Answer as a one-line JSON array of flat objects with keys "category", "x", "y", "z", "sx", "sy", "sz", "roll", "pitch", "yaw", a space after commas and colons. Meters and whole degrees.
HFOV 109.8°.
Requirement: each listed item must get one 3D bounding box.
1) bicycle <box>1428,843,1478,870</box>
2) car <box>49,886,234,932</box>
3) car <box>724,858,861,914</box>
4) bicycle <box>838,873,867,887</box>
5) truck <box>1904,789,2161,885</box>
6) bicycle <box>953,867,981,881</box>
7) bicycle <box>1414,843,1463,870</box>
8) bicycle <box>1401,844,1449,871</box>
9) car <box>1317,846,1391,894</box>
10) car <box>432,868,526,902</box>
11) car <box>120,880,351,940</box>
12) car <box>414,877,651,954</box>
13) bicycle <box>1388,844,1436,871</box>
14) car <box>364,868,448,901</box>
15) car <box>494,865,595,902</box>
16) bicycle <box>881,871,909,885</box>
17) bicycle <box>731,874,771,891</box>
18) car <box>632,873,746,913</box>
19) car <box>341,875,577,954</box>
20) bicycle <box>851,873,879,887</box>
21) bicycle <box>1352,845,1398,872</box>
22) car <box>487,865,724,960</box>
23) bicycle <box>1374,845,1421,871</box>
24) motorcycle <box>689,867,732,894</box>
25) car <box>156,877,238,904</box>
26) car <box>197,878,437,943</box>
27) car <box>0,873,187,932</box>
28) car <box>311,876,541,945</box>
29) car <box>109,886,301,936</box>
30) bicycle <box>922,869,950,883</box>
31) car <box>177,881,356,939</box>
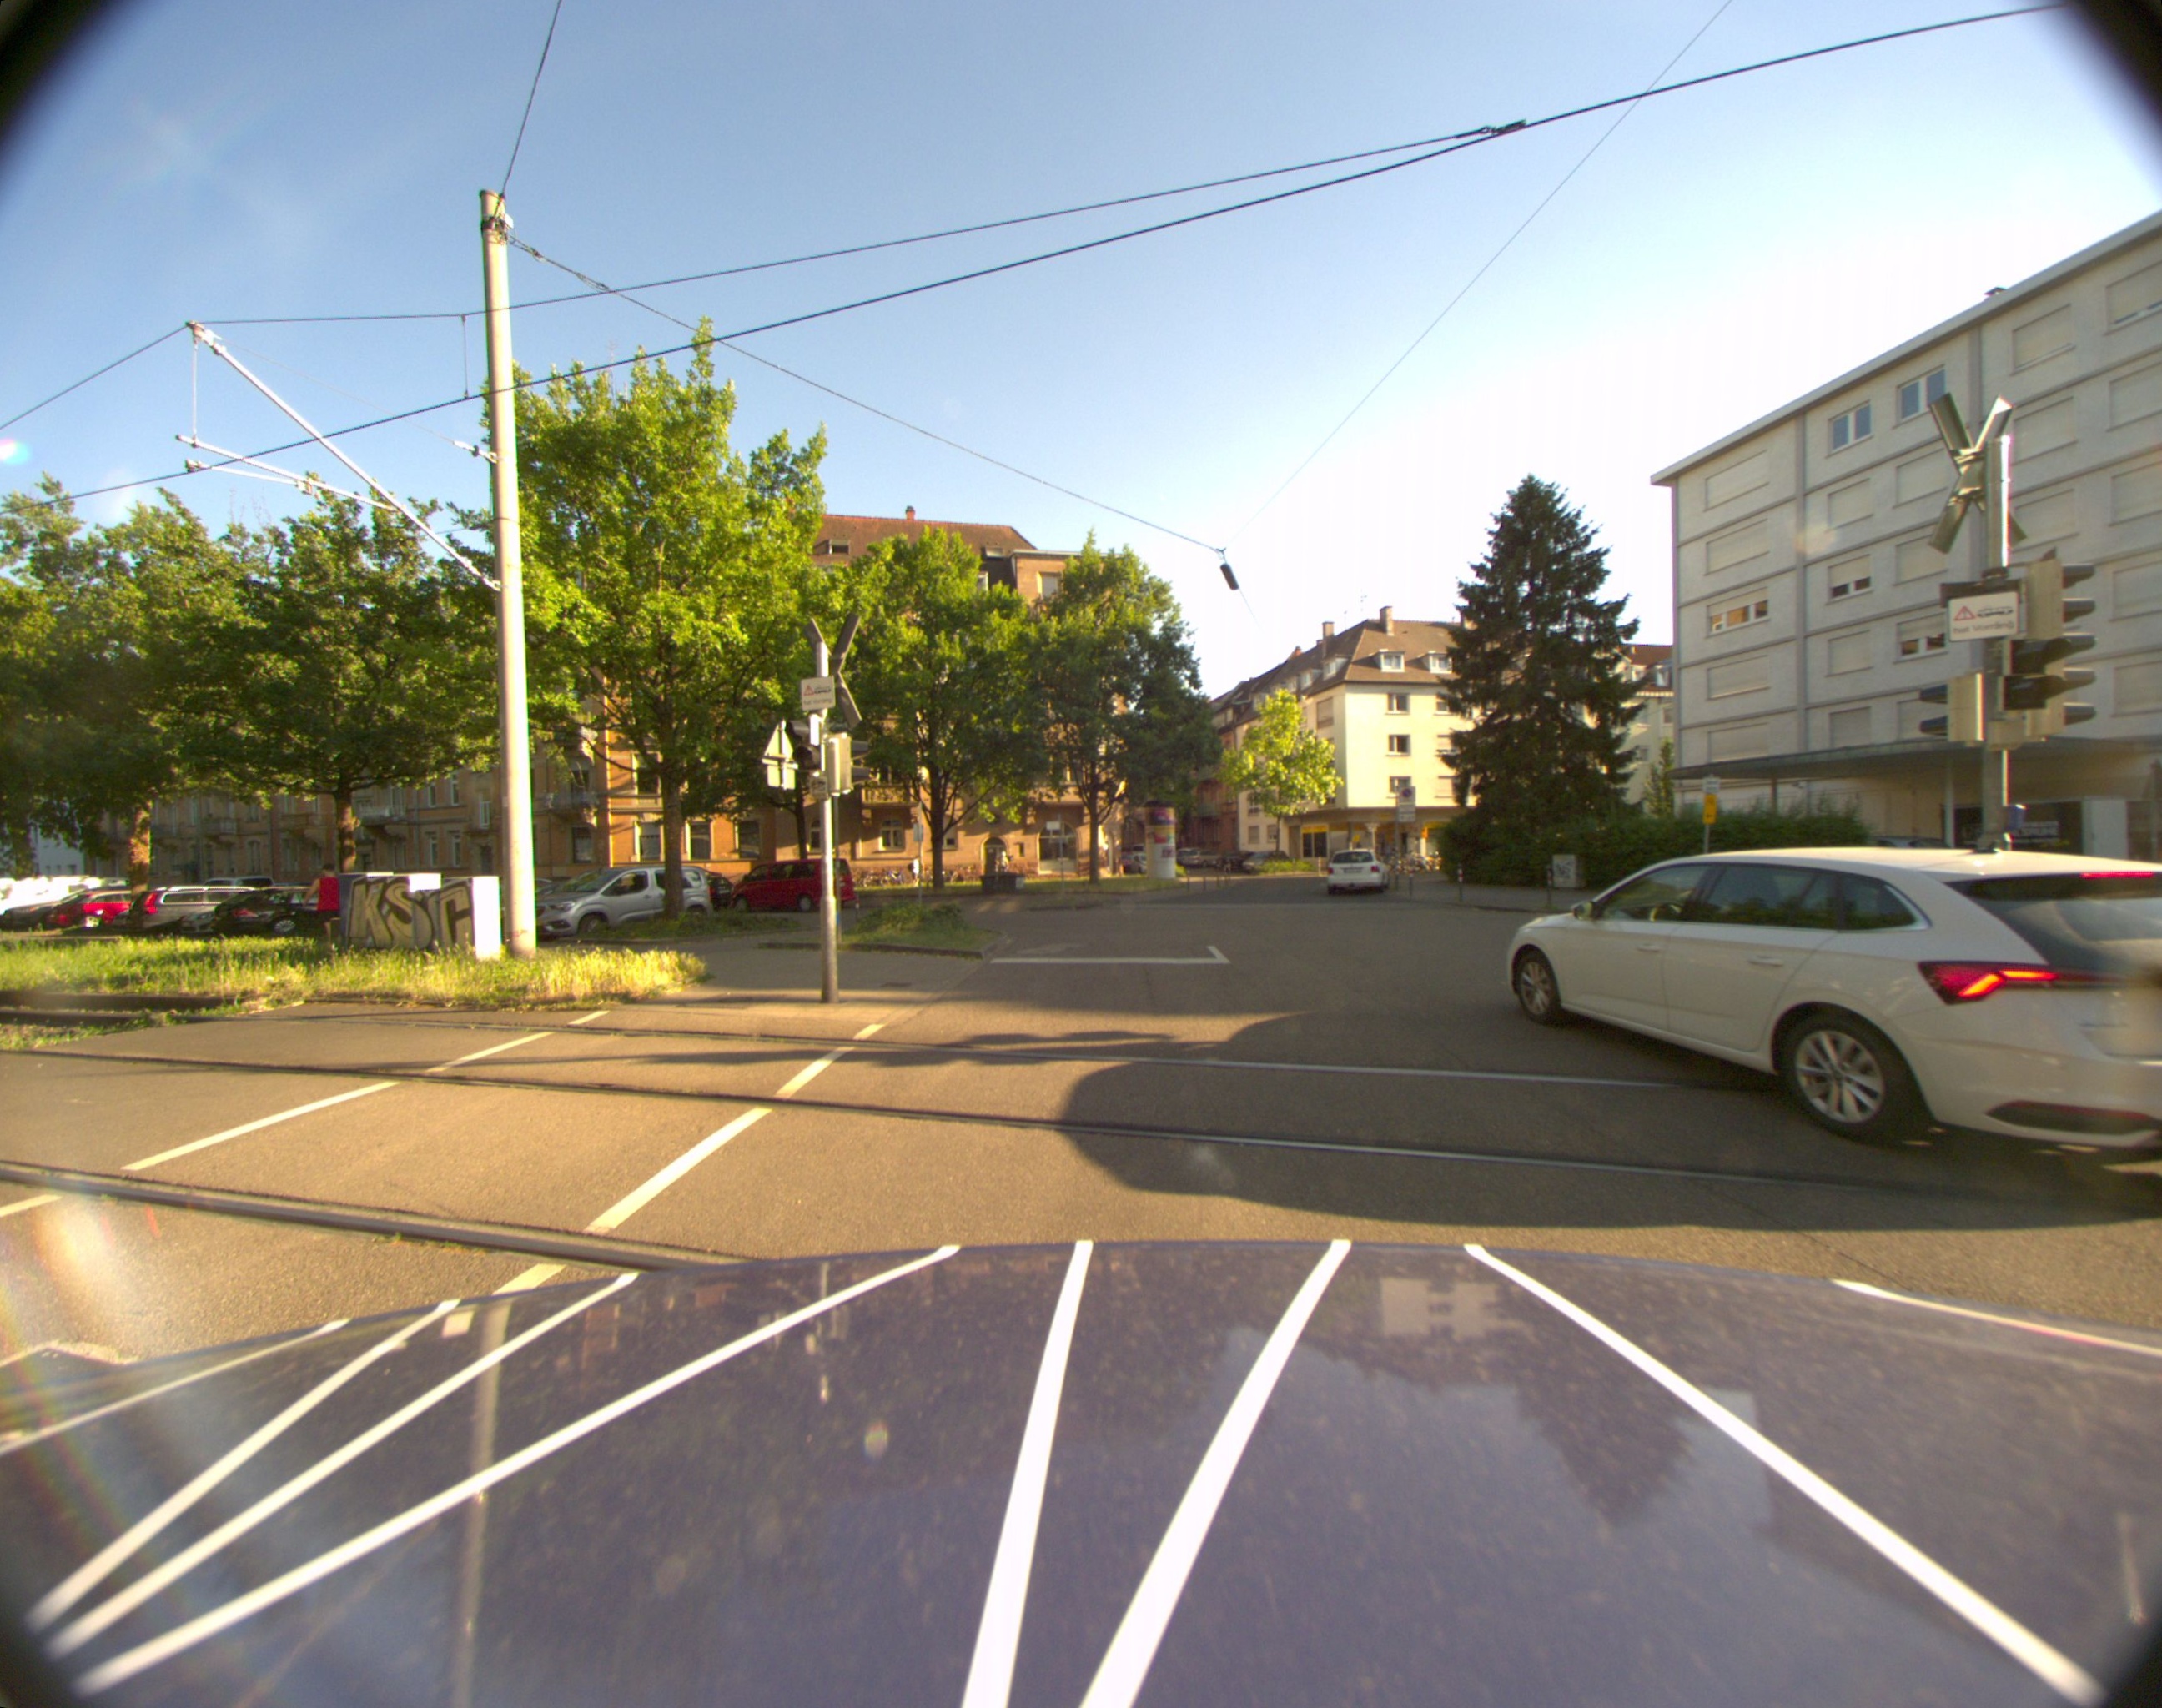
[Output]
[{"category": "bicycle", "x": 21.903, "y": 0.118, "z": 44.896, "sx": 0.881, "sy": 1.437, "sz": 3.376, "roll": -2, "pitch": 2, "yaw": -9}, {"category": "car", "x": -34.821, "y": 1.991, "z": 28.313, "sx": 1.680, "sy": 1.415, "sz": 4.007, "roll": -2, "pitch": 0, "yaw": 23}, {"category": "car", "x": -10.880, "y": 1.203, "z": 28.683, "sx": 4.761, "sy": 1.923, "sz": 1.784, "roll": -2, "pitch": 3, "yaw": 22}, {"category": "bicycle", "x": -12.778, "y": 1.455, "z": 42.566, "sx": 1.511, "sy": 0.728, "sz": 0.368, "roll": -2, "pitch": 1, "yaw": -13}, {"category": "truck", "x": 28.440, "y": -0.461, "z": 22.640, "sx": 2.000, "sy": 2.520, "sz": 4.967, "roll": -2, "pitch": 0, "yaw": -12}, {"category": "bicycle", "x": -6.619, "y": 1.162, "z": 44.087, "sx": 1.511, "sy": 0.728, "sz": 0.368, "roll": -3, "pitch": 1, "yaw": -13}, {"category": "bicycle", "x": 21.042, "y": 0.130, "z": 44.795, "sx": 0.881, "sy": 1.437, "sz": 3.376, "roll": -2, "pitch": 2, "yaw": -9}, {"category": "bicycle", "x": 20.108, "y": 0.153, "z": 44.569, "sx": 0.881, "sy": 1.437, "sz": 3.376, "roll": -2, "pitch": 2, "yaw": -9}, {"category": "car", "x": 9.388, "y": 0.505, "z": 25.935, "sx": 1.919, "sy": 1.442, "sz": 4.303, "roll": -2, "pitch": 0, "yaw": 25}, {"category": "car", "x": -28.819, "y": 1.480, "z": 36.364, "sx": 3.873, "sy": 1.467, "sz": 1.691, "roll": -2, "pitch": 3, "yaw": 21}, {"category": "car", "x": -27.882, "y": 1.761, "z": 25.289, "sx": 1.995, "sy": 1.563, "sz": 4.723, "roll": 0, "pitch": 1, "yaw": 25}, {"category": "car", "x": -13.948, "y": 1.464, "z": 19.673, "sx": 1.945, "sy": 1.563, "sz": 4.561, "roll": 0, "pitch": 1, "yaw": 25}, {"category": "bicycle", "x": 19.150, "y": 0.164, "z": 44.063, "sx": 0.881, "sy": 1.437, "sz": 3.376, "roll": -2, "pitch": 1, "yaw": -9}, {"category": "car", "x": -34.178, "y": 1.536, "z": 38.484, "sx": 3.700, "sy": 1.467, "sz": 1.691, "roll": -2, "pitch": 3, "yaw": 23}, {"category": "car", "x": -24.341, "y": 1.344, "z": 34.465, "sx": 4.260, "sy": 1.467, "sz": 1.784, "roll": -2, "pitch": 3, "yaw": 25}, {"category": "bicycle", "x": -10.539, "y": 1.364, "z": 43.081, "sx": 1.511, "sy": 0.728, "sz": 0.368, "roll": -2, "pitch": 1, "yaw": -13}, {"category": "bicycle", "x": -18.043, "y": 1.566, "z": 41.618, "sx": 1.899, "sy": 0.843, "sz": 0.525, "roll": -2, "pitch": 1, "yaw": -13}, {"category": "car", "x": -15.963, "y": 1.572, "z": 30.904, "sx": 4.260, "sy": 1.426, "sz": 1.784, "roll": -2, "pitch": 3, "yaw": 25}, {"category": "car", "x": -16.471, "y": 1.512, "z": 20.417, "sx": 1.945, "sy": 1.681, "sz": 4.457, "roll": 0, "pitch": 1, "yaw": 25}, {"category": "bicycle", "x": -12.031, "y": 1.435, "z": 42.342, "sx": 1.511, "sy": 0.728, "sz": 0.368, "roll": -2, "pitch": 1, "yaw": -13}, {"category": "bicycle", "x": 16.765, "y": 0.204, "z": 43.422, "sx": 0.881, "sy": 1.437, "sz": 3.376, "roll": -2, "pitch": 1, "yaw": -9}, {"category": "car", "x": -11.421, "y": 1.276, "z": 18.676, "sx": 1.945, "sy": 1.903, "sz": 4.561, "roll": 0, "pitch": 1, "yaw": 25}, {"category": "bicycle", "x": 18.100, "y": 0.195, "z": 43.587, "sx": 0.881, "sy": 1.437, "sz": 3.376, "roll": -2, "pitch": 1, "yaw": -9}, {"category": "motorcycle", "x": -19.985, "y": 1.416, "z": 40.987, "sx": 1.899, "sy": 1.345, "sz": 0.809, "roll": -2, "pitch": 1, "yaw": -13}, {"category": "car", "x": -54.220, "y": 2.236, "z": 46.616, "sx": 4.382, "sy": 1.433, "sz": 1.884, "roll": -2, "pitch": 3, "yaw": 22}, {"category": "car", "x": -23.034, "y": 1.612, "z": 23.174, "sx": 1.995, "sy": 1.563, "sz": 4.723, "roll": 0, "pitch": 1, "yaw": 25}, {"category": "car", "x": -39.489, "y": 1.846, "z": 30.077, "sx": 2.150, "sy": 2.026, "sz": 4.868, "roll": -1, "pitch": 0, "yaw": 23}, {"category": "car", "x": -18.488, "y": 1.493, "z": 21.737, "sx": 1.945, "sy": 1.563, "sz": 4.561, "roll": 0, "pitch": 1, "yaw": 25}, {"category": "car", "x": -30.183, "y": 1.915, "z": 26.339, "sx": 1.680, "sy": 1.452, "sz": 4.007, "roll": -1, "pitch": 0, "yaw": 23}, {"category": "bicycle", "x": -8.366, "y": 1.249, "z": 43.803, "sx": 1.511, "sy": 0.728, "sz": 0.368, "roll": -2, "pitch": 1, "yaw": -13}, {"category": "car", "x": -25.468, "y": 1.698, "z": 23.882, "sx": 1.715, "sy": 1.505, "sz": 3.415, "roll": -2, "pitch": 0, "yaw": 25}]
